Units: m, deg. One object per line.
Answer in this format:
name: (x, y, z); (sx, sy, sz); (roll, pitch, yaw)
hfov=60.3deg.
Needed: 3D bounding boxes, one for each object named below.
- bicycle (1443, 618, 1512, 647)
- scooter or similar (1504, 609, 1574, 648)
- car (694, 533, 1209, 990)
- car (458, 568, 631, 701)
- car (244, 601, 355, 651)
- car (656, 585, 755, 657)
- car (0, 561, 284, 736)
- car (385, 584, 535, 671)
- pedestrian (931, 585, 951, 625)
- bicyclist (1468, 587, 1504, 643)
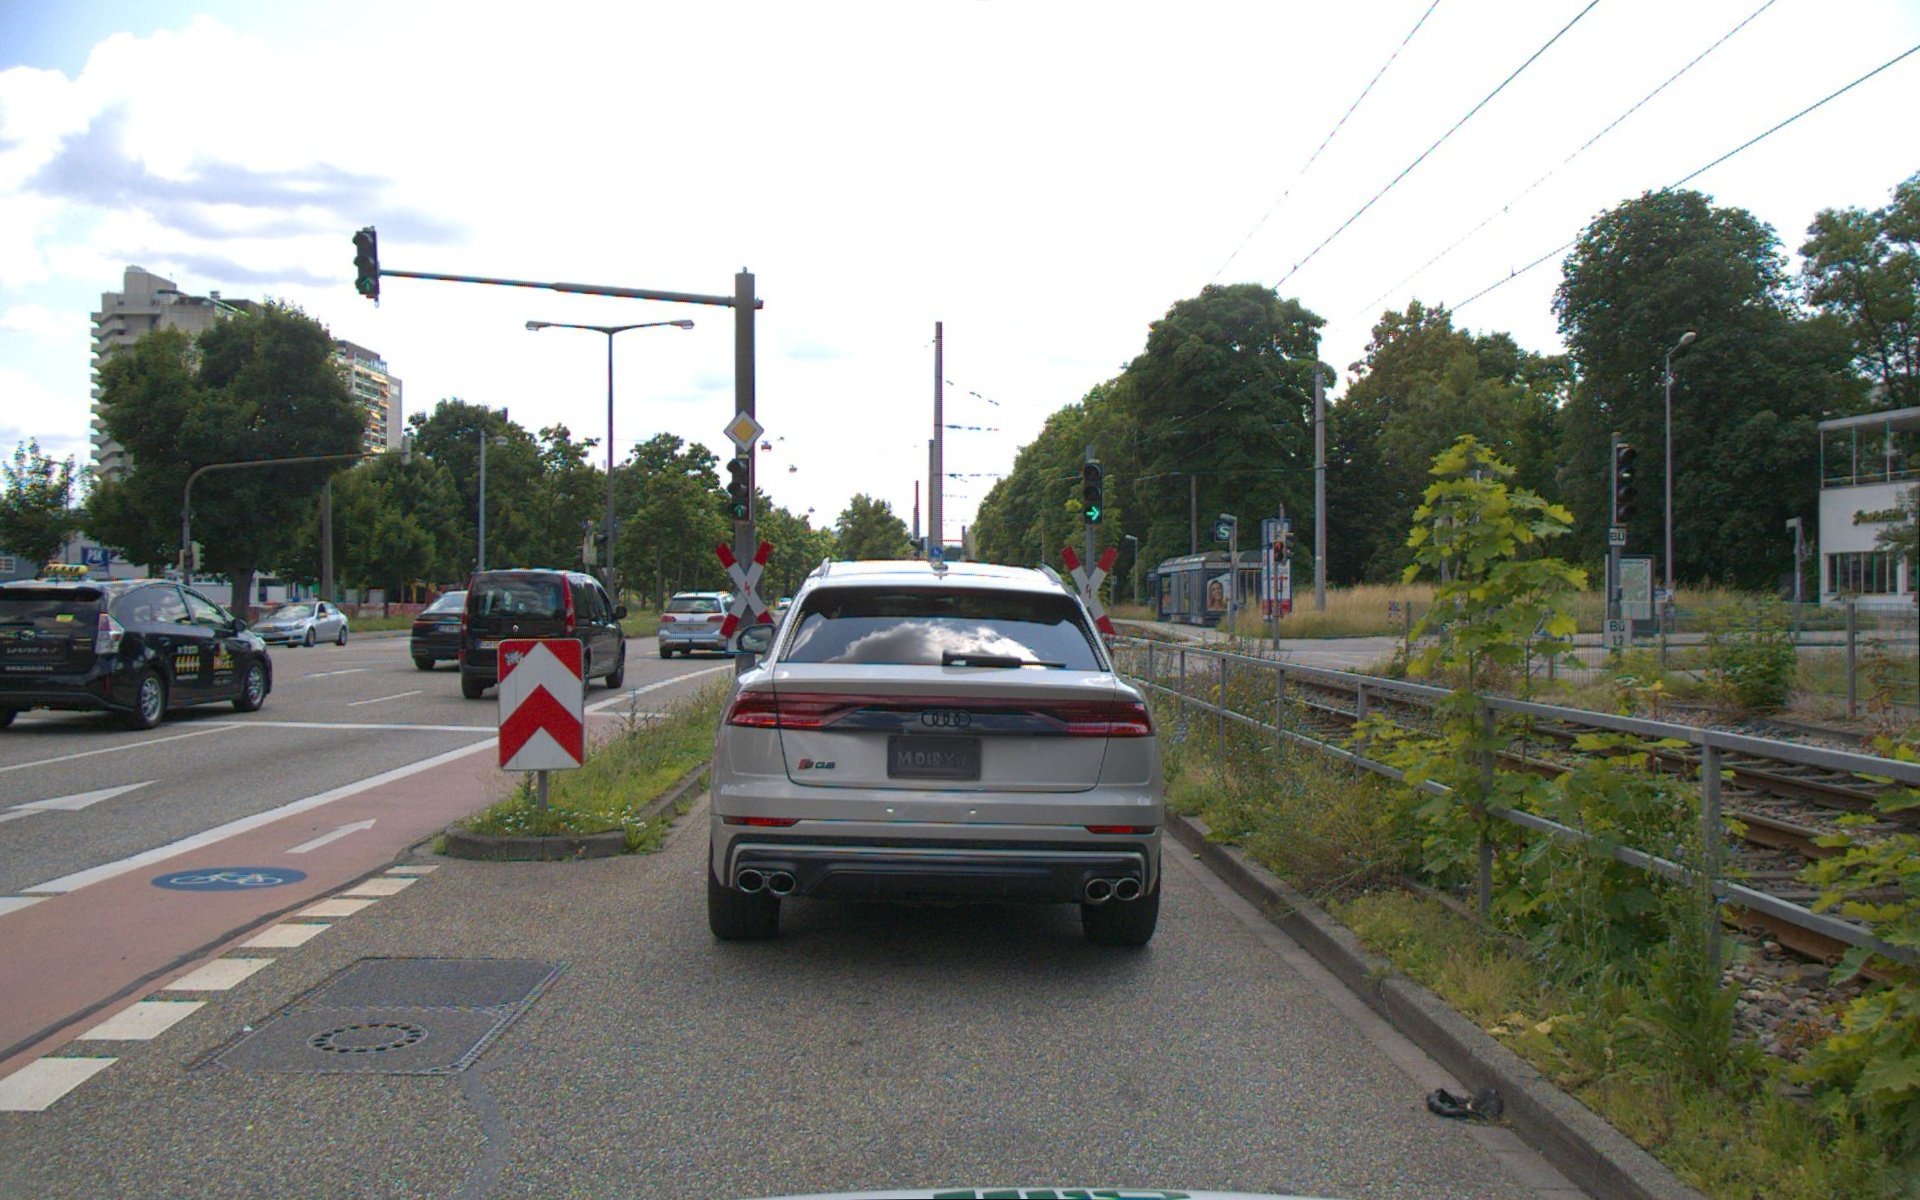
bicycle: (13.975, 0.875, 44.704); (1.686, 0.778, 0.555); (1, 0, 1)
scooter or similar: (15.630, 0.765, 44.676); (1.542, 0.997, 0.962); (-1, 0, 1)
car: (-0.060, 0.627, 8.598); (1.941, 1.713, 4.573); (1, 0, -1)
car: (-6.101, 0.482, 24.703); (1.724, 1.808, 3.906); (1, 0, -3)
car: (-20.256, 0.762, 50.911); (1.764, 1.457, 4.494); (0, 0, -3)
car: (-5.834, 0.467, 38.338); (1.750, 1.552, 4.299); (1, 0, -2)
car: (-9.224, 0.480, 18.356); (1.750, 1.697, 4.338); (1, 0, -2)
car: (-9.406, 0.500, 31.432); (1.827, 1.531, 3.997); (1, 0, -4)
pedestrian: (-0.743, 0.207, 64.763); (0.642, 1.540, 0.716); (0, 0, -10)
bicyclist: (14.207, 0.410, 44.680); (0.821, 1.501, 0.455); (0, 0, 1)
